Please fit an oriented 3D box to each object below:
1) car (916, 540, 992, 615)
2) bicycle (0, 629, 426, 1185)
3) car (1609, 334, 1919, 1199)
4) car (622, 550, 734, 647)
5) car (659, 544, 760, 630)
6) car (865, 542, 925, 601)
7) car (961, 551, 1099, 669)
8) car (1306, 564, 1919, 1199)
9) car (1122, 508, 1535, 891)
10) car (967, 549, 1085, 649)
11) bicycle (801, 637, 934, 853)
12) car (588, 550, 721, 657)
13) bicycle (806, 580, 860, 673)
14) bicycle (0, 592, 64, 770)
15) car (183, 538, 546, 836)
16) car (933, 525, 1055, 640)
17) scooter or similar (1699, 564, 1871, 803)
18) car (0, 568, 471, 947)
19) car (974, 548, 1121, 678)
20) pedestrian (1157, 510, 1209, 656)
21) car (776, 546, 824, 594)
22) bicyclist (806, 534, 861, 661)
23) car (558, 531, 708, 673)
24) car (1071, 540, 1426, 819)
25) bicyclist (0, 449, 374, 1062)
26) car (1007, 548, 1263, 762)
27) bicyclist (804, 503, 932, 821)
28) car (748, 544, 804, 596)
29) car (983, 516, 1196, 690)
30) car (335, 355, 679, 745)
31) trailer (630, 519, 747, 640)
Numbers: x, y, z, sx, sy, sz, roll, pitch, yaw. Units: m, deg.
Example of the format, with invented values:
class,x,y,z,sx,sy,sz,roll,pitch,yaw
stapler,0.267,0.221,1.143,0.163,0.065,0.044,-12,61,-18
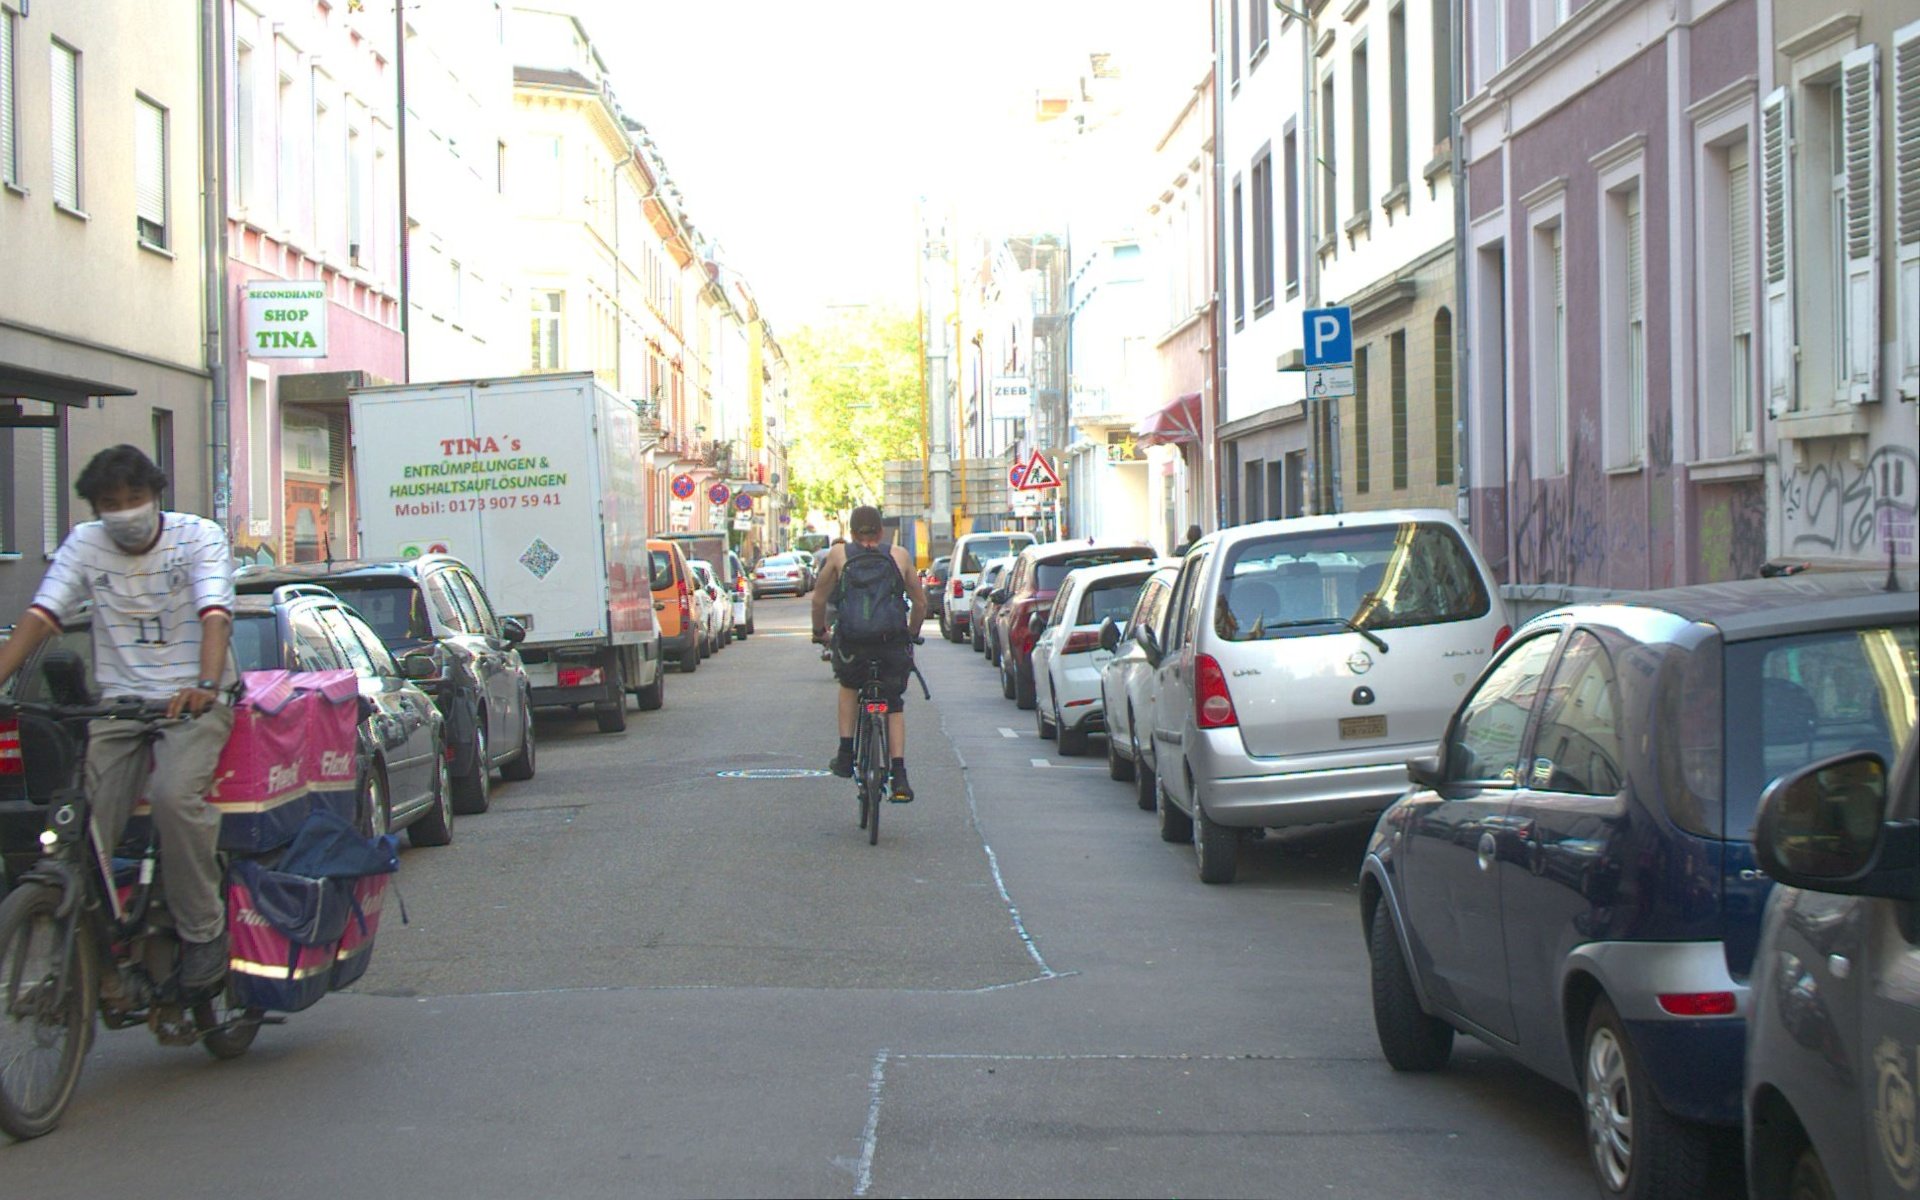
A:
class,x,y,z,sx,sy,sz,roll,pitch,yaw
car,-0.150,-0.510,77.333,1.611,1.628,3.610,0,0,-2
bicycle,-2.246,0.793,9.966,0.977,1.310,2.555,-2,1,-1
car,2.175,0.563,3.995,1.899,1.787,4.315,0,0,-2
car,-4.747,-0.037,58.216,1.653,1.532,3.634,-2,0,-2
car,-4.856,-0.262,67.042,1.750,1.567,3.796,-2,0,-2
car,-1.779,-0.769,93.314,1.611,1.555,3.610,0,0,-2
car,0.954,0.117,48.736,1.646,1.470,3.971,-5,0,-2
car,1.984,0.668,8.970,1.552,1.506,3.612,0,0,-4
car,1.731,0.435,17.127,1.556,1.706,3.559,0,0,-2
car,1.017,-0.030,54.657,1.750,1.481,3.800,-2,0,0
bicycle,-0.504,0.752,18.586,0.677,1.071,1.942,0,0,-2
car,-4.684,0.043,53.181,1.750,1.532,4.319,-2,0,-2
bicycle,-1.574,0.310,42.715,0.648,1.126,2.136,0,0,-2
bicycle,-6.704,0.553,23.824,0.490,1.160,1.773,-3,1,0
car,-3.841,0.487,22.844,1.716,1.644,4.246,-3,2,-2
car,0.555,-0.306,59.711,1.750,1.872,3.973,-2,0,-4
scooter or similar,4.336,0.418,18.135,0.450,1.178,1.369,-4,0,-2
car,-3.600,0.671,17.249,1.716,1.473,4.499,-4,2,-2
car,1.088,0.141,44.223,1.667,1.500,3.816,-4,0,0
pedestrian,3.093,-0.235,47.650,0.644,2.007,0.764,0,0,-2
car,-6.190,-1.160,133.253,1.750,1.815,3.796,-2,0,-2
bicyclist,-1.574,-0.037,42.711,0.671,1.562,0.716,0,0,-3
car,-4.491,0.015,47.655,1.752,1.810,4.078,-3,0,-2
car,1.752,0.446,22.304,1.696,1.538,4.629,-3,0,-2
bicyclist,-2.264,0.416,9.801,0.950,1.622,0.953,-3,1,-1
car,1.354,0.404,28.046,1.686,1.538,4.046,-3,0,-2
bicyclist,-0.502,0.324,18.615,0.667,1.671,1.097,0,0,-2
car,-6.200,-1.014,116.191,1.750,1.678,3.796,-2,0,-2
car,1.291,-0.010,36.095,1.918,1.700,4.367,-1,1,-2
car,-4.227,-0.461,33.445,2.343,3.280,7.154,-3,0,-1
trailer,-4.935,-0.378,62.825,1.882,2.085,3.737,-2,0,-2
